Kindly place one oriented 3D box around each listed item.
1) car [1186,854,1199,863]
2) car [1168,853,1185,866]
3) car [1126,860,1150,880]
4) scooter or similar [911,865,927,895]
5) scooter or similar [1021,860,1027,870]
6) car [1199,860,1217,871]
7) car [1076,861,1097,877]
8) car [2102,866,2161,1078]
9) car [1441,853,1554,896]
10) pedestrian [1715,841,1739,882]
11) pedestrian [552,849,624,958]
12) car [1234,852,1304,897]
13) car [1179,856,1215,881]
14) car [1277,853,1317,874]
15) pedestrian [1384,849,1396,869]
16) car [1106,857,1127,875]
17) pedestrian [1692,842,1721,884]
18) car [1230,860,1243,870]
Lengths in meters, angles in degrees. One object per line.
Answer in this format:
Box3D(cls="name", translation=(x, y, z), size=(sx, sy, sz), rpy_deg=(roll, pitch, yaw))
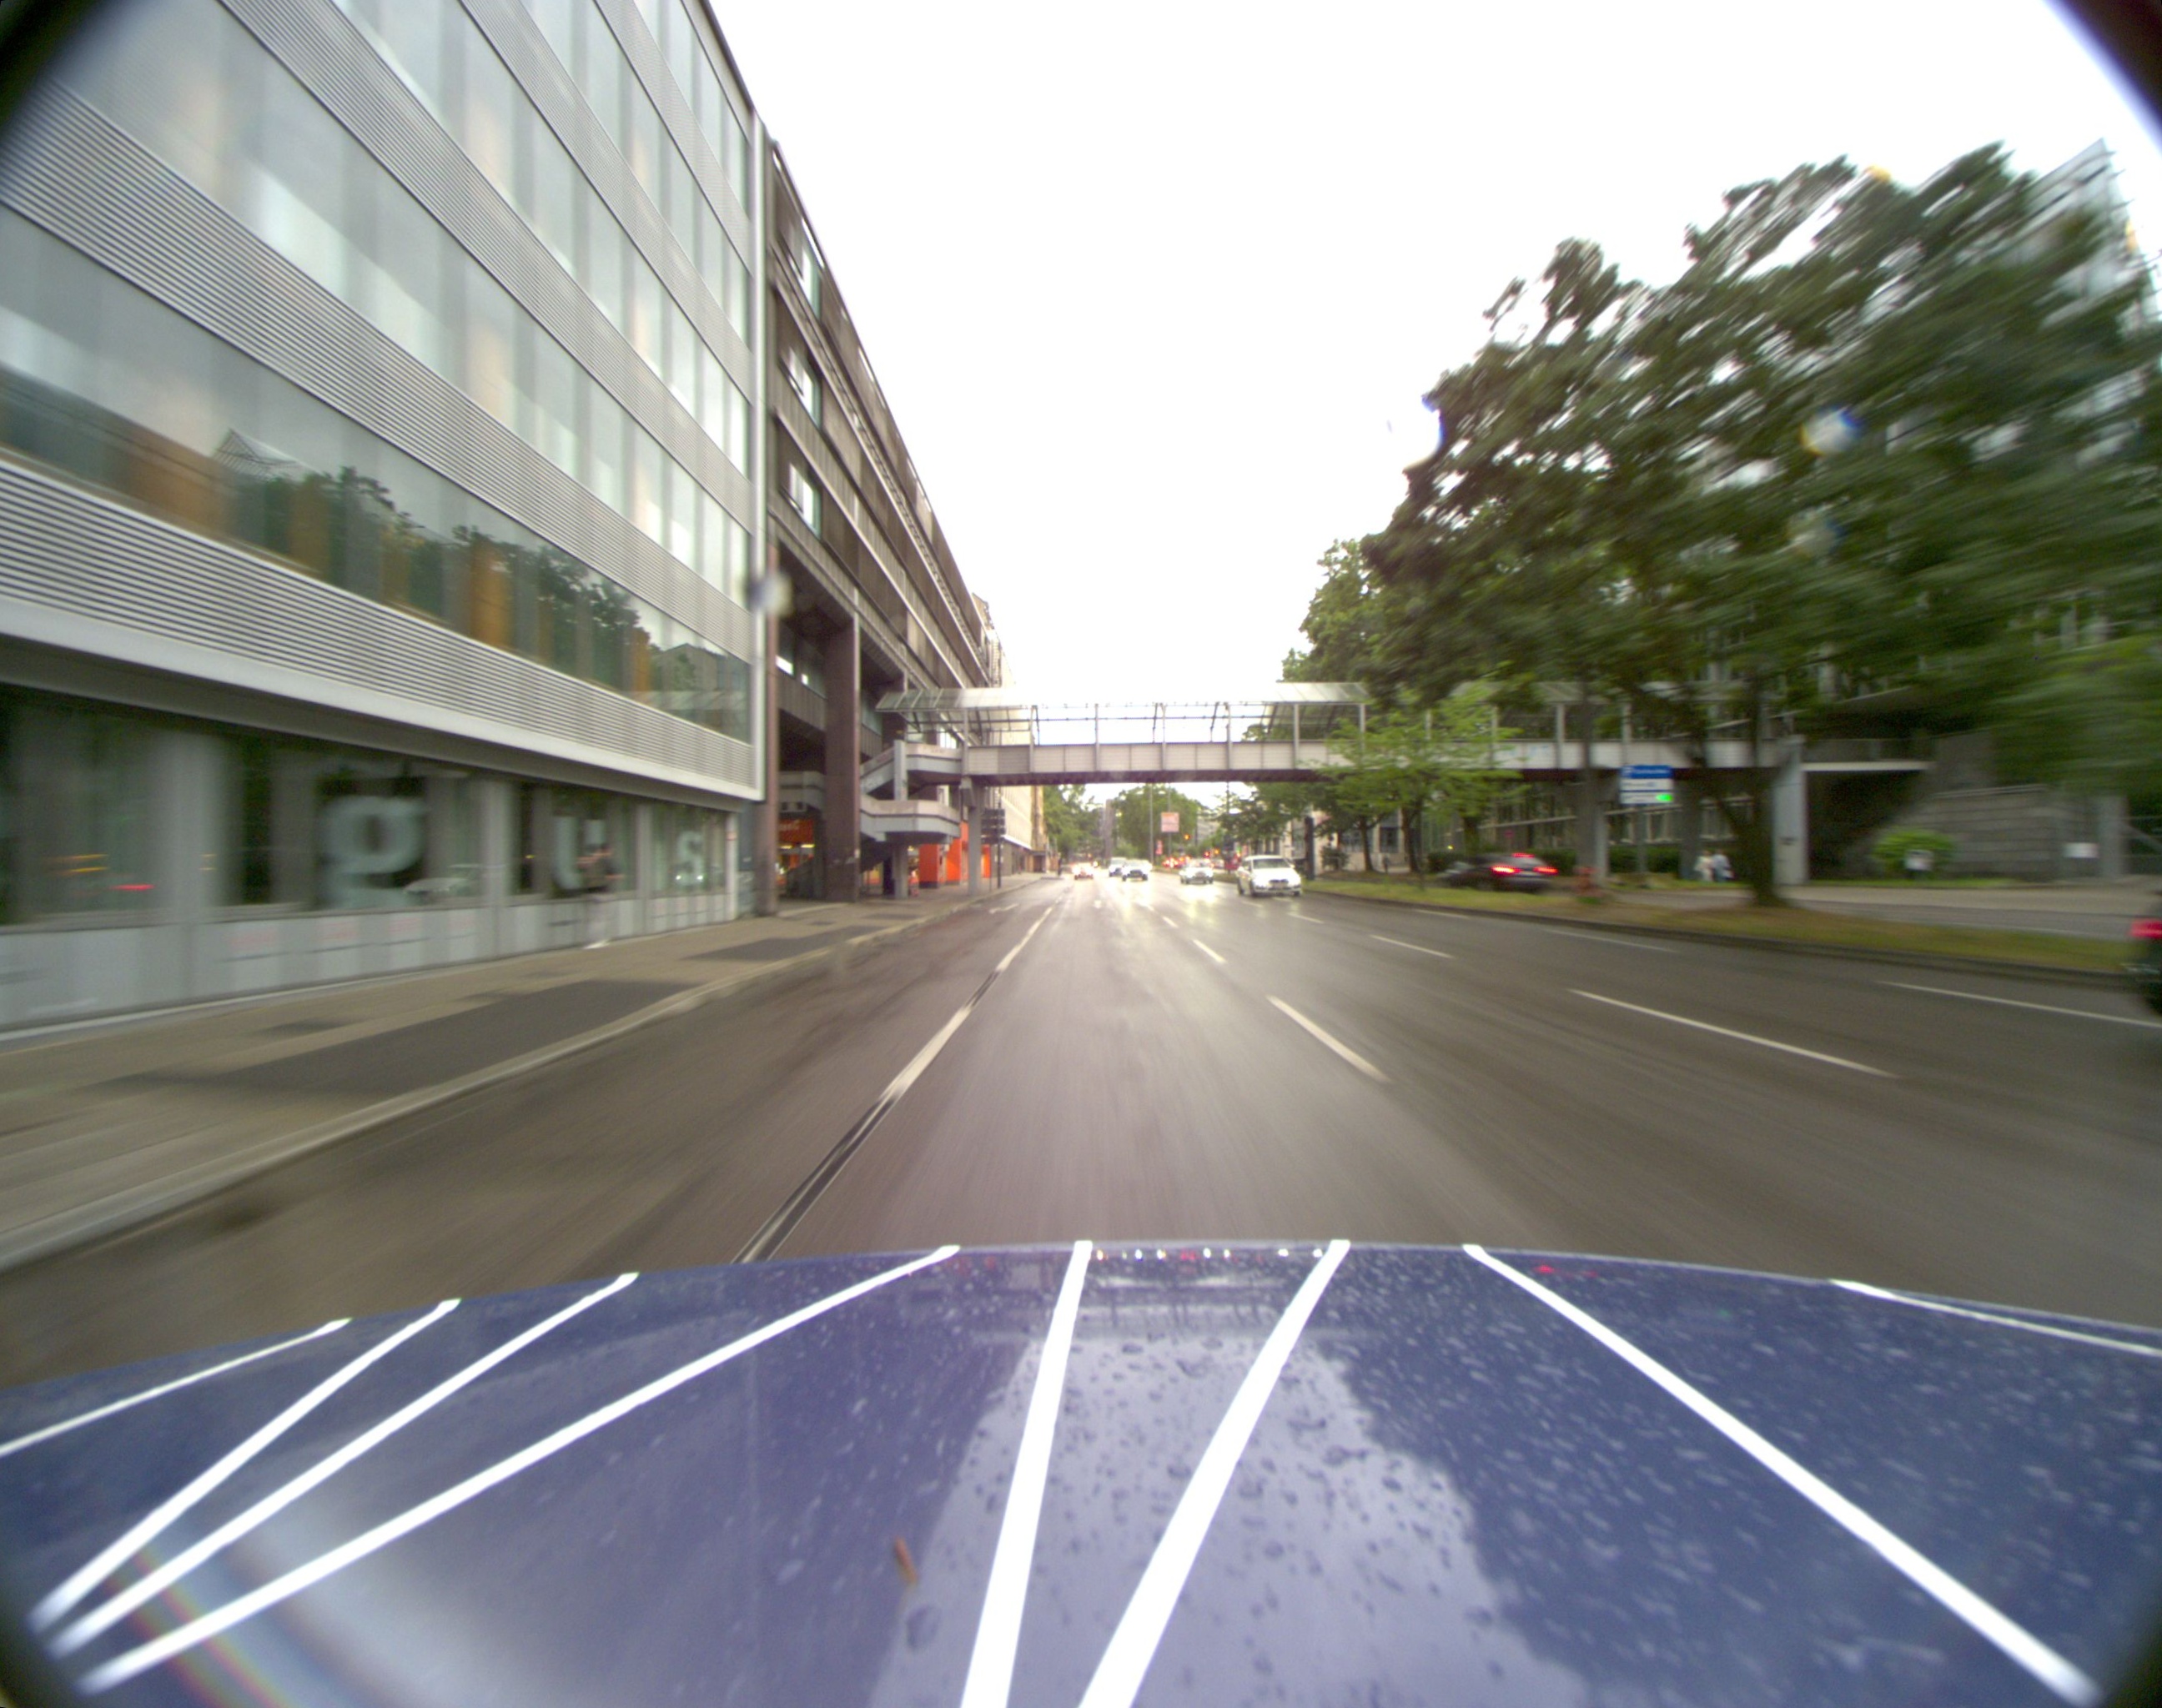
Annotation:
Box3D(cls="car", translation=(19.296, 0.738, 131.580), size=(1.730, 1.424, 4.396), rpy_deg=(-1, 1, 4))
Box3D(cls="car", translation=(13.611, 0.767, 108.341), size=(1.878, 1.670, 4.680), rpy_deg=(-1, 1, 1))
Box3D(cls="car", translation=(4.337, 1.198, 58.217), size=(1.716, 1.432, 3.495), rpy_deg=(0, 0, 3))
Box3D(cls="scooter or similar", translation=(-7.054, 1.108, 33.054), size=(0.350, 1.248, 1.395), rpy_deg=(-1, 0, 1))
Box3D(cls="scooter or similar", translation=(-6.680, 1.284, 89.006), size=(0.412, 1.229, 1.190), rpy_deg=(-1, 0, 9))
Box3D(cls="car", translation=(17.604, 1.549, 105.585), size=(1.666, 1.455, 4.080), rpy_deg=(1, 0, -1))
Box3D(cls="car", translation=(0.510, 1.324, 67.524), size=(1.716, 1.274, 3.494), rpy_deg=(-1, 0, 2))
Box3D(cls="car", translation=(8.416, 0.788, 3.503), size=(1.789, 1.444, 4.122), rpy_deg=(-2, 0, -3))
Box3D(cls="car", translation=(13.953, 0.628, 25.671), size=(1.628, 1.304, 3.616), rpy_deg=(-1, 1, -4))
Box3D(cls="pedestrian", translation=(28.729, 0.349, 33.793), size=(0.607, 1.797, 0.511), rpy_deg=(-1, 0, 1))
Box3D(cls="pedestrian", translation=(-8.189, 0.796, 12.650), size=(0.637, 1.762, 0.789), rpy_deg=(-1, 1, 1))
Box3D(cls="car", translation=(7.348, 0.759, 30.014), size=(1.781, 1.587, 3.999), rpy_deg=(-1, 1, 0))
Box3D(cls="car", translation=(7.320, 0.907, 48.263), size=(1.612, 1.433, 3.493), rpy_deg=(-3, 0, -1))
Box3D(cls="car", translation=(19.790, 0.852, 69.724), size=(2.005, 1.758, 5.184), rpy_deg=(2, 0, -1))
Box3D(cls="pedestrian", translation=(28.250, 0.451, 69.425), size=(0.736, 1.797, 0.802), rpy_deg=(-1, 0, 1))
Box3D(cls="car", translation=(3.498, 1.153, 74.871), size=(1.998, 1.733, 3.910), rpy_deg=(-1, 0, 2))
Box3D(cls="pedestrian", translation=(27.817, 0.397, 33.801), size=(0.598, 1.797, 0.760), rpy_deg=(-1, 0, 1))
Box3D(cls="car", translation=(23.763, 1.729, 116.480), size=(1.595, 1.407, 3.402), rpy_deg=(-1, 1, 5))
